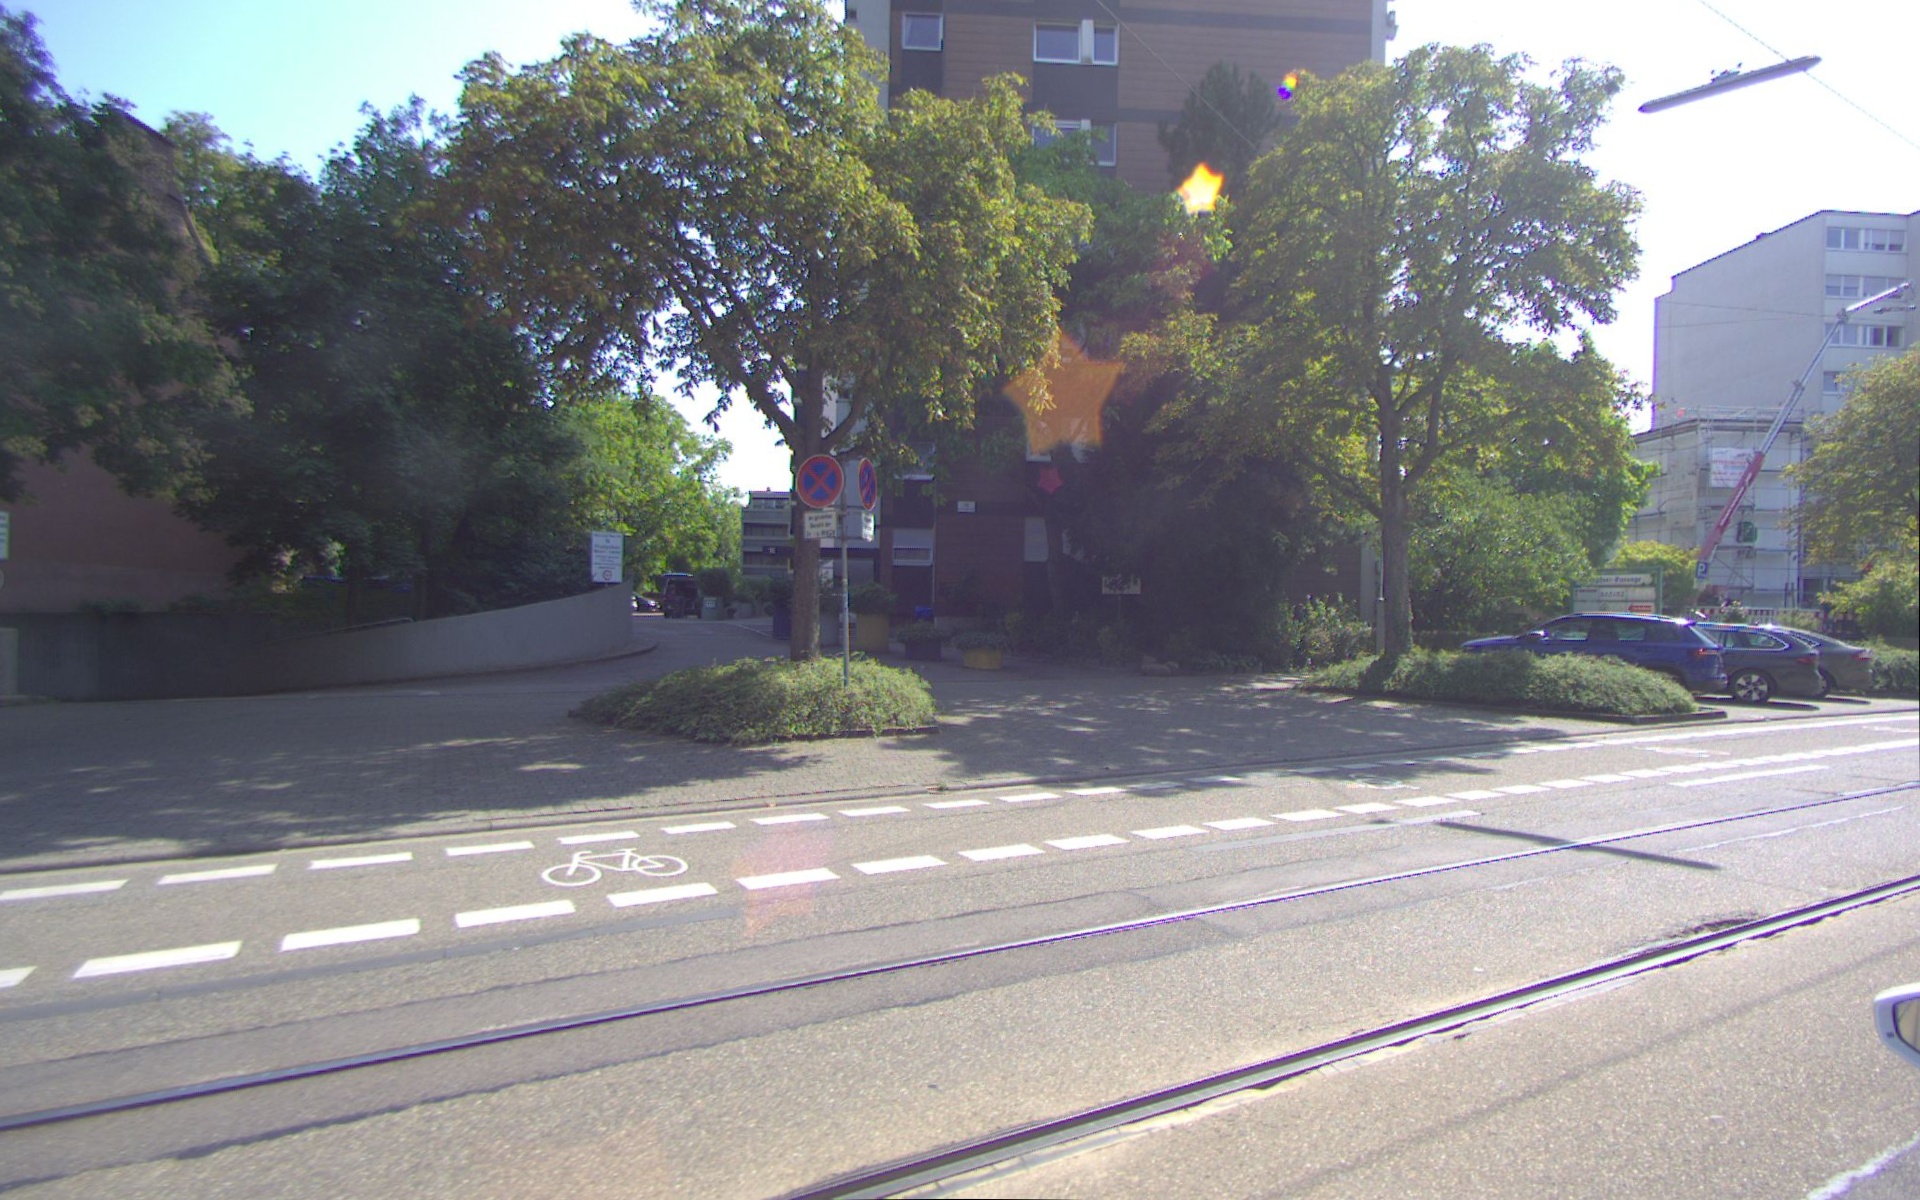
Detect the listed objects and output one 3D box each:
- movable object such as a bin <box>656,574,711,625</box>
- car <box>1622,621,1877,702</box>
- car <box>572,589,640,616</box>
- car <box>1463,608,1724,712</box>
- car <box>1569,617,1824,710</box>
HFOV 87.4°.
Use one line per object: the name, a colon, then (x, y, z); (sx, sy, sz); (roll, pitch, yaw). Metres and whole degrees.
movable object such as a bin: (-13.424, -0.021, 48.987); (1.914, 2.349, 3.663); (1, 0, -5)
car: (17.101, 1.271, 22.043); (4.225, 1.517, 1.775); (1, 0, 35)
car: (-22.079, 0.139, 62.804); (3.937, 1.548, 1.833); (2, 0, -18)
car: (11.765, 1.027, 18.757); (3.937, 1.670, 1.834); (1, 0, 38)
car: (14.490, 1.180, 20.023); (3.933, 1.591, 1.775); (1, 0, 35)
